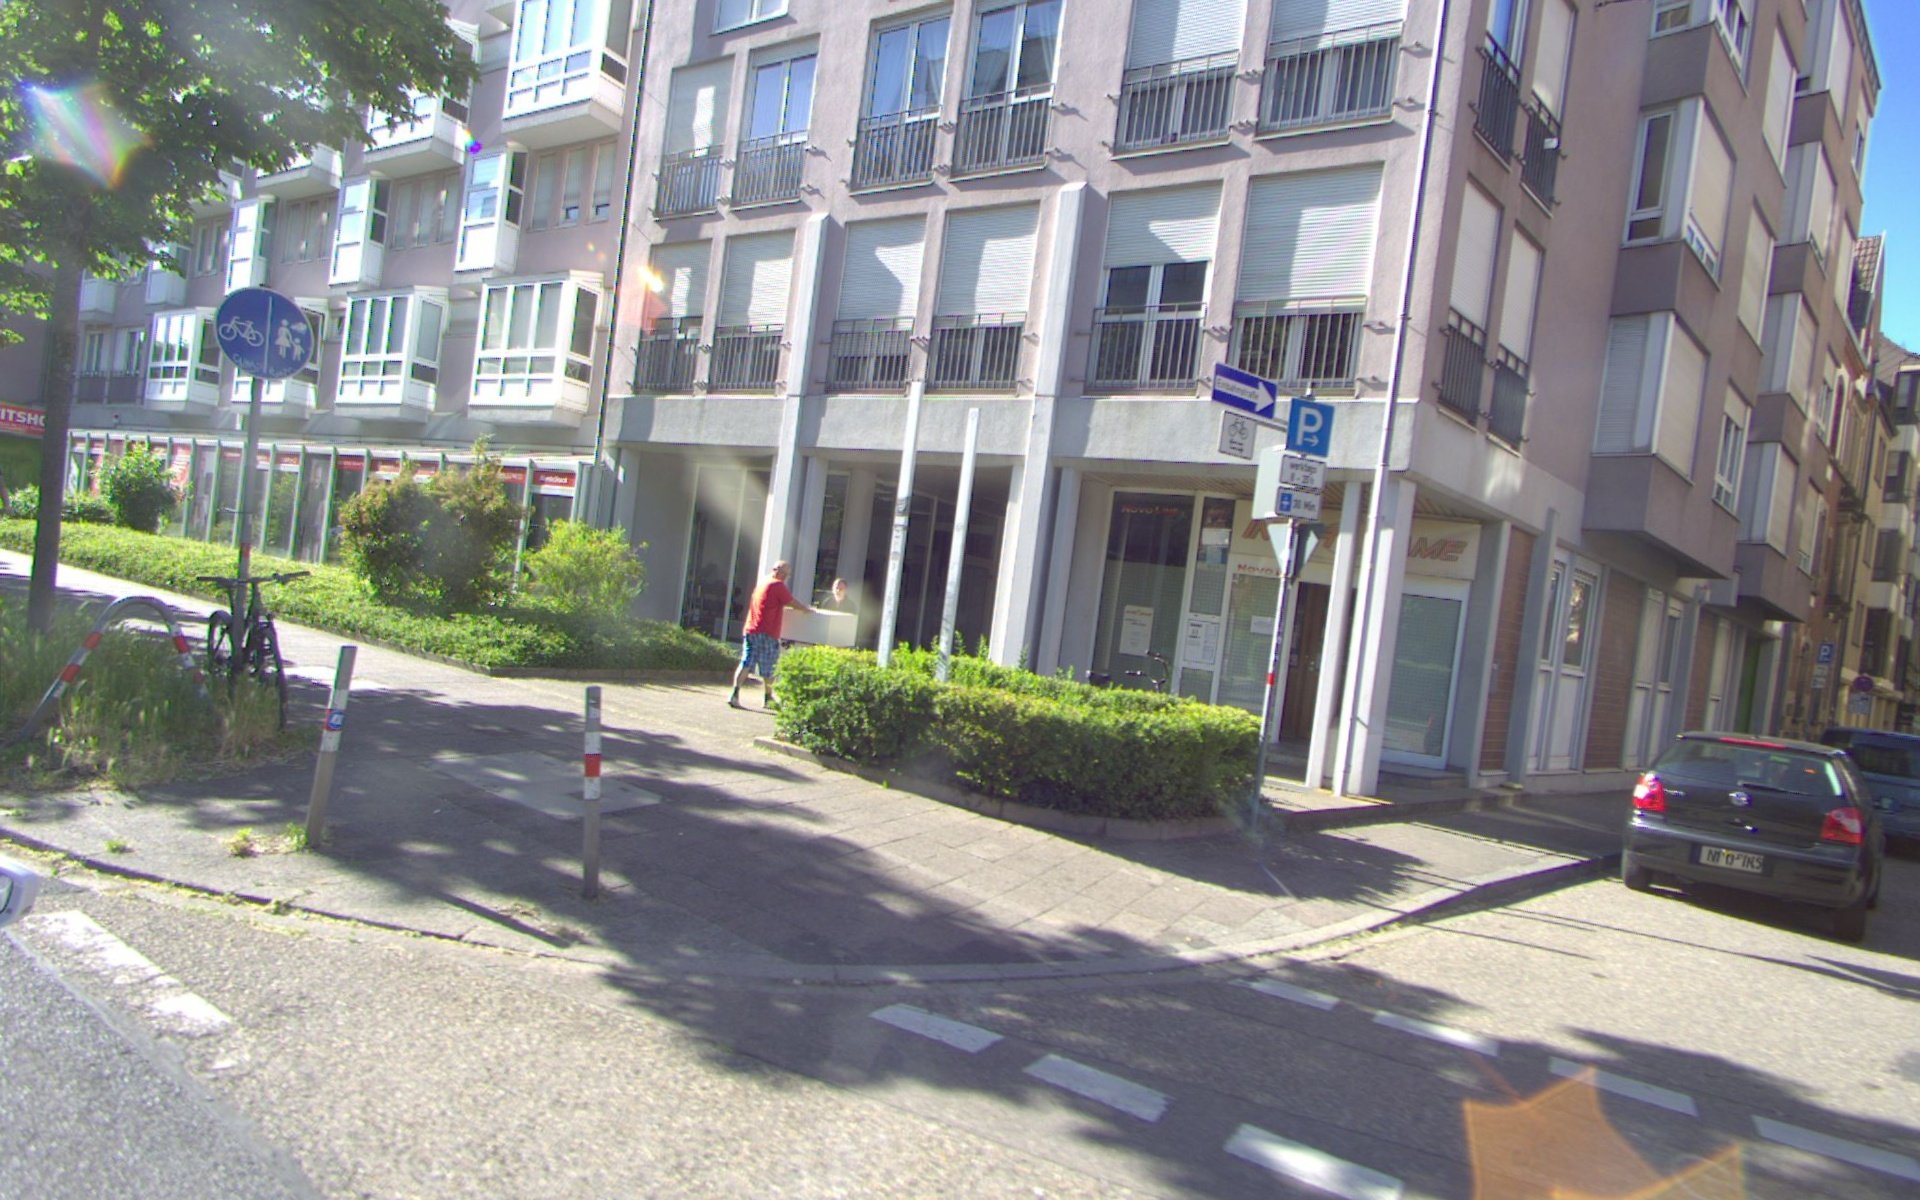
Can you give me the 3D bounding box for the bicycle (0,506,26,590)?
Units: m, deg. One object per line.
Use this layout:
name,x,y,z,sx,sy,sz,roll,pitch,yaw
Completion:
bicycle,-12.870,-0.752,13.026,1.829,1.040,0.590,7,0,31

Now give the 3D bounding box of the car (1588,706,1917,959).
car,7.392,1.959,9.227,1.838,1.540,3.936,6,-2,45

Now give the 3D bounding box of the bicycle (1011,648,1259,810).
bicycle,1.611,1.164,9.583,2.171,1.041,0.684,10,3,40

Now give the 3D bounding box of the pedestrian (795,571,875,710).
pedestrian,-1.545,0.488,12.482,0.593,1.626,0.654,7,3,26

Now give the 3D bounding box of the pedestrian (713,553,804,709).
pedestrian,-2.228,0.335,11.140,0.593,1.626,0.654,7,3,26

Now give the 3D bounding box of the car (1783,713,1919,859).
car,13.898,2.782,15.196,1.772,1.726,3.936,7,-1,45

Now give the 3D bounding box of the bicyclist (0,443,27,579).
bicyclist,-12.738,-1.197,12.989,0.874,1.715,0.668,7,0,32

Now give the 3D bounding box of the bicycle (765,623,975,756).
bicycle,-0.791,0.834,9.681,0.676,1.041,2.196,10,3,33

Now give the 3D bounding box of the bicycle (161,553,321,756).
bicycle,-4.883,0.312,6.771,0.588,1.079,1.998,7,0,-41
